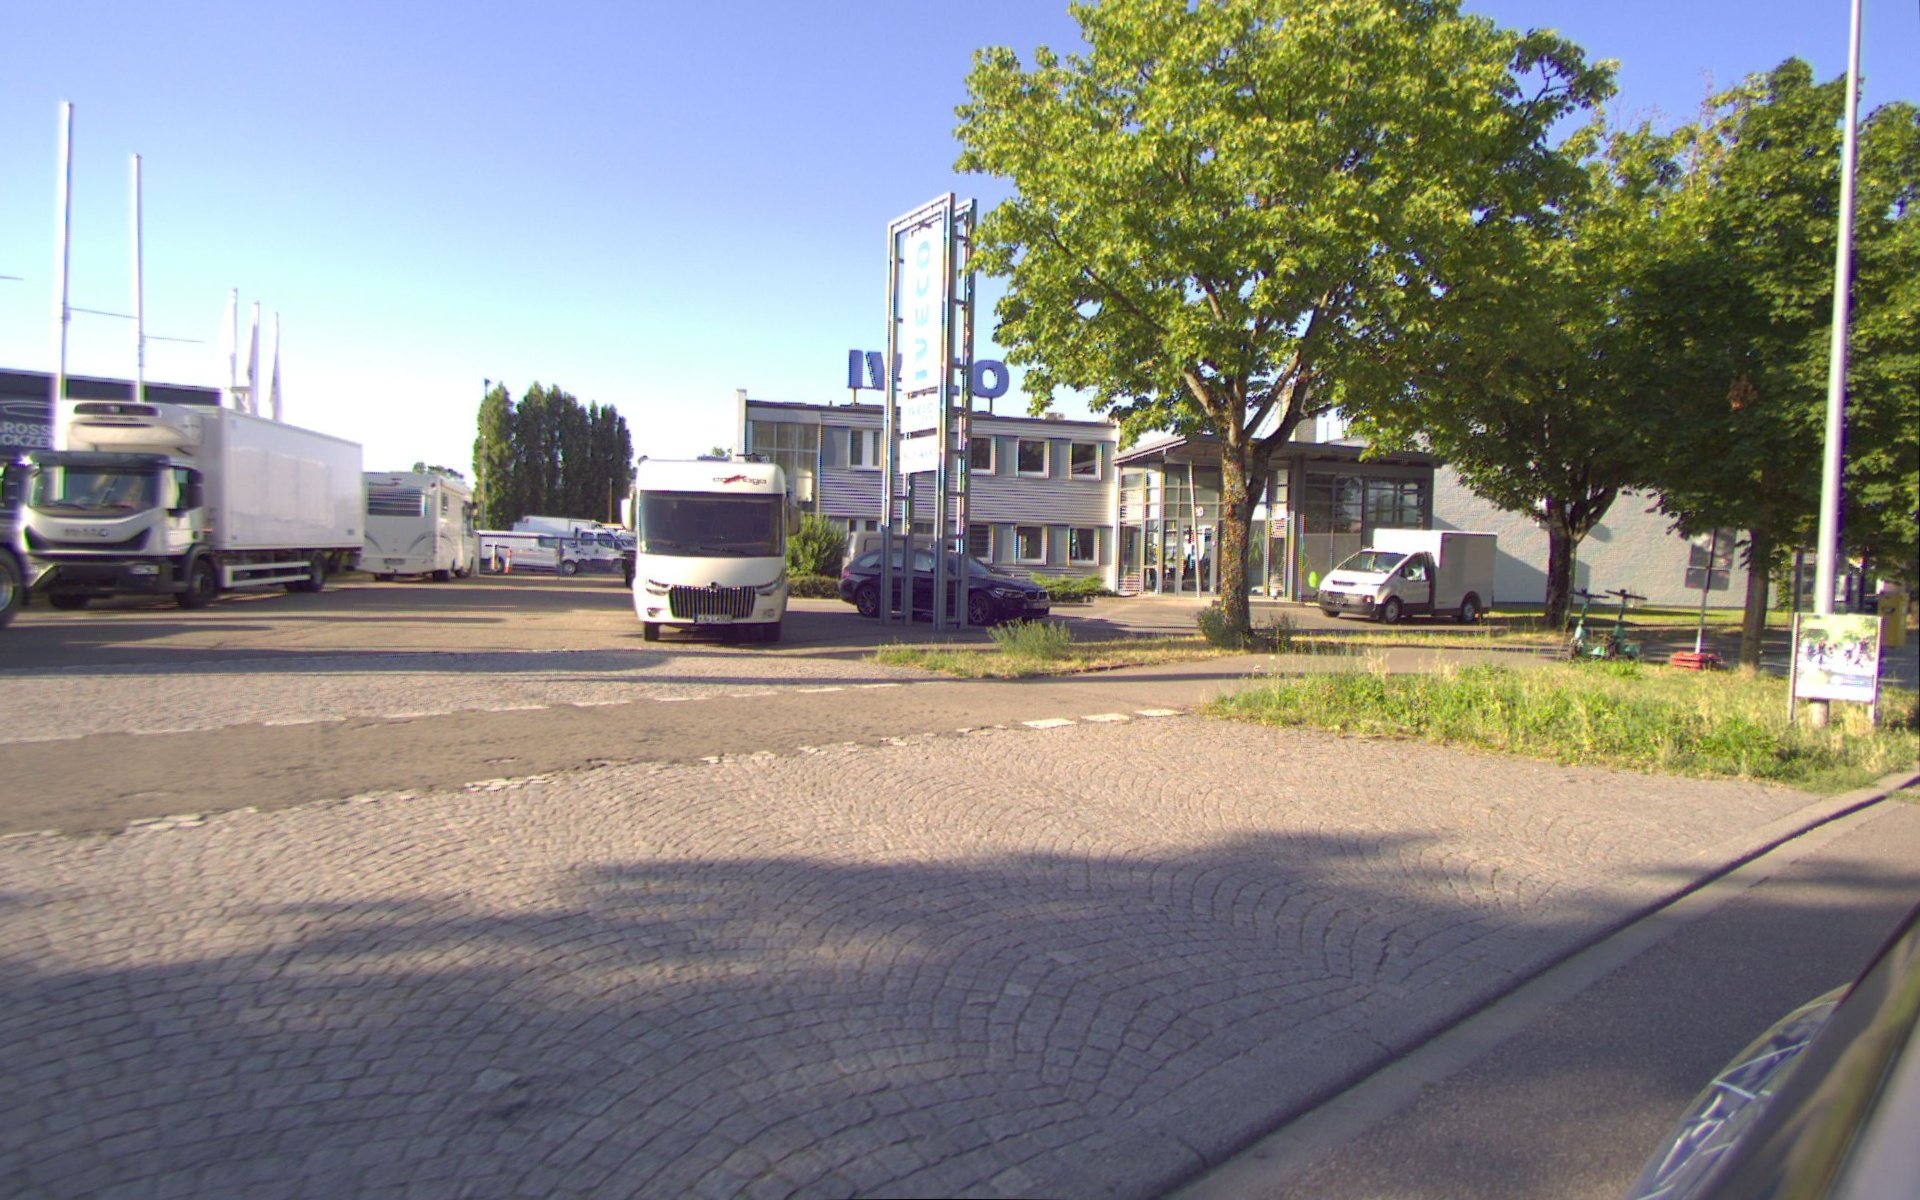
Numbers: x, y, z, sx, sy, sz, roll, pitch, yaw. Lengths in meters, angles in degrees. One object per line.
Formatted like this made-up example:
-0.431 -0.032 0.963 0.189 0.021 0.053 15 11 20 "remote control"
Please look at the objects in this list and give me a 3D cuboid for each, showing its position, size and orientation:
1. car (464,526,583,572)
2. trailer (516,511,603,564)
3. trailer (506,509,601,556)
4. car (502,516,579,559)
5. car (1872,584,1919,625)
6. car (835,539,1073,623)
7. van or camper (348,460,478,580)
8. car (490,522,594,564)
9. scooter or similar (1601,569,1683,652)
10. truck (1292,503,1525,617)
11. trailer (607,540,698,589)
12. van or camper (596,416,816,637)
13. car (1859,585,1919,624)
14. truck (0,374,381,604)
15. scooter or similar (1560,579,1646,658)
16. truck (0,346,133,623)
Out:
-20.705 -2.398 48.204 4.945 2.039 2.004 0 0 -16 "car"
-24.770 -3.843 62.808 4.756 3.106 2.005 1 2 -14 "trailer"
-23.052 -3.824 57.582 4.756 2.466 2.005 1 2 -14 "trailer"
-24.643 -3.659 59.553 3.916 2.305 2.094 1 2 -14 "car"
50.254 0.297 51.835 2.253 2.038 4.856 1 2 -8 "car"
-0.202 -0.460 21.234 4.786 1.510 1.974 4 3 36 "car"
-17.686 -2.507 33.218 2.363 3.369 8.160 1 3 -19 "van or camper"
-22.298 -3.023 54.165 4.945 2.039 2.004 0 0 -16 "car"
11.545 0.164 17.128 1.452 1.352 0.549 0 2 -32 "scooter or similar"
12.038 -1.059 27.099 5.851 2.752 2.552 1 4 -29 "truck"
-9.564 -1.168 31.808 2.501 1.338 5.668 1 3 -15 "trailer"
-4.459 -1.181 17.787 2.881 2.935 8.032 1 3 -14 "van or camper"
53.941 0.273 56.890 2.255 2.038 4.851 2 2 -2 "car"
-15.911 -2.055 21.563 3.226 3.688 10.144 1 3 -12 "truck"
10.325 0.288 16.242 1.452 1.211 0.549 0 2 -32 "scooter or similar"
-13.582 -1.449 11.562 3.050 3.565 8.274 1 3 -13 "truck"
